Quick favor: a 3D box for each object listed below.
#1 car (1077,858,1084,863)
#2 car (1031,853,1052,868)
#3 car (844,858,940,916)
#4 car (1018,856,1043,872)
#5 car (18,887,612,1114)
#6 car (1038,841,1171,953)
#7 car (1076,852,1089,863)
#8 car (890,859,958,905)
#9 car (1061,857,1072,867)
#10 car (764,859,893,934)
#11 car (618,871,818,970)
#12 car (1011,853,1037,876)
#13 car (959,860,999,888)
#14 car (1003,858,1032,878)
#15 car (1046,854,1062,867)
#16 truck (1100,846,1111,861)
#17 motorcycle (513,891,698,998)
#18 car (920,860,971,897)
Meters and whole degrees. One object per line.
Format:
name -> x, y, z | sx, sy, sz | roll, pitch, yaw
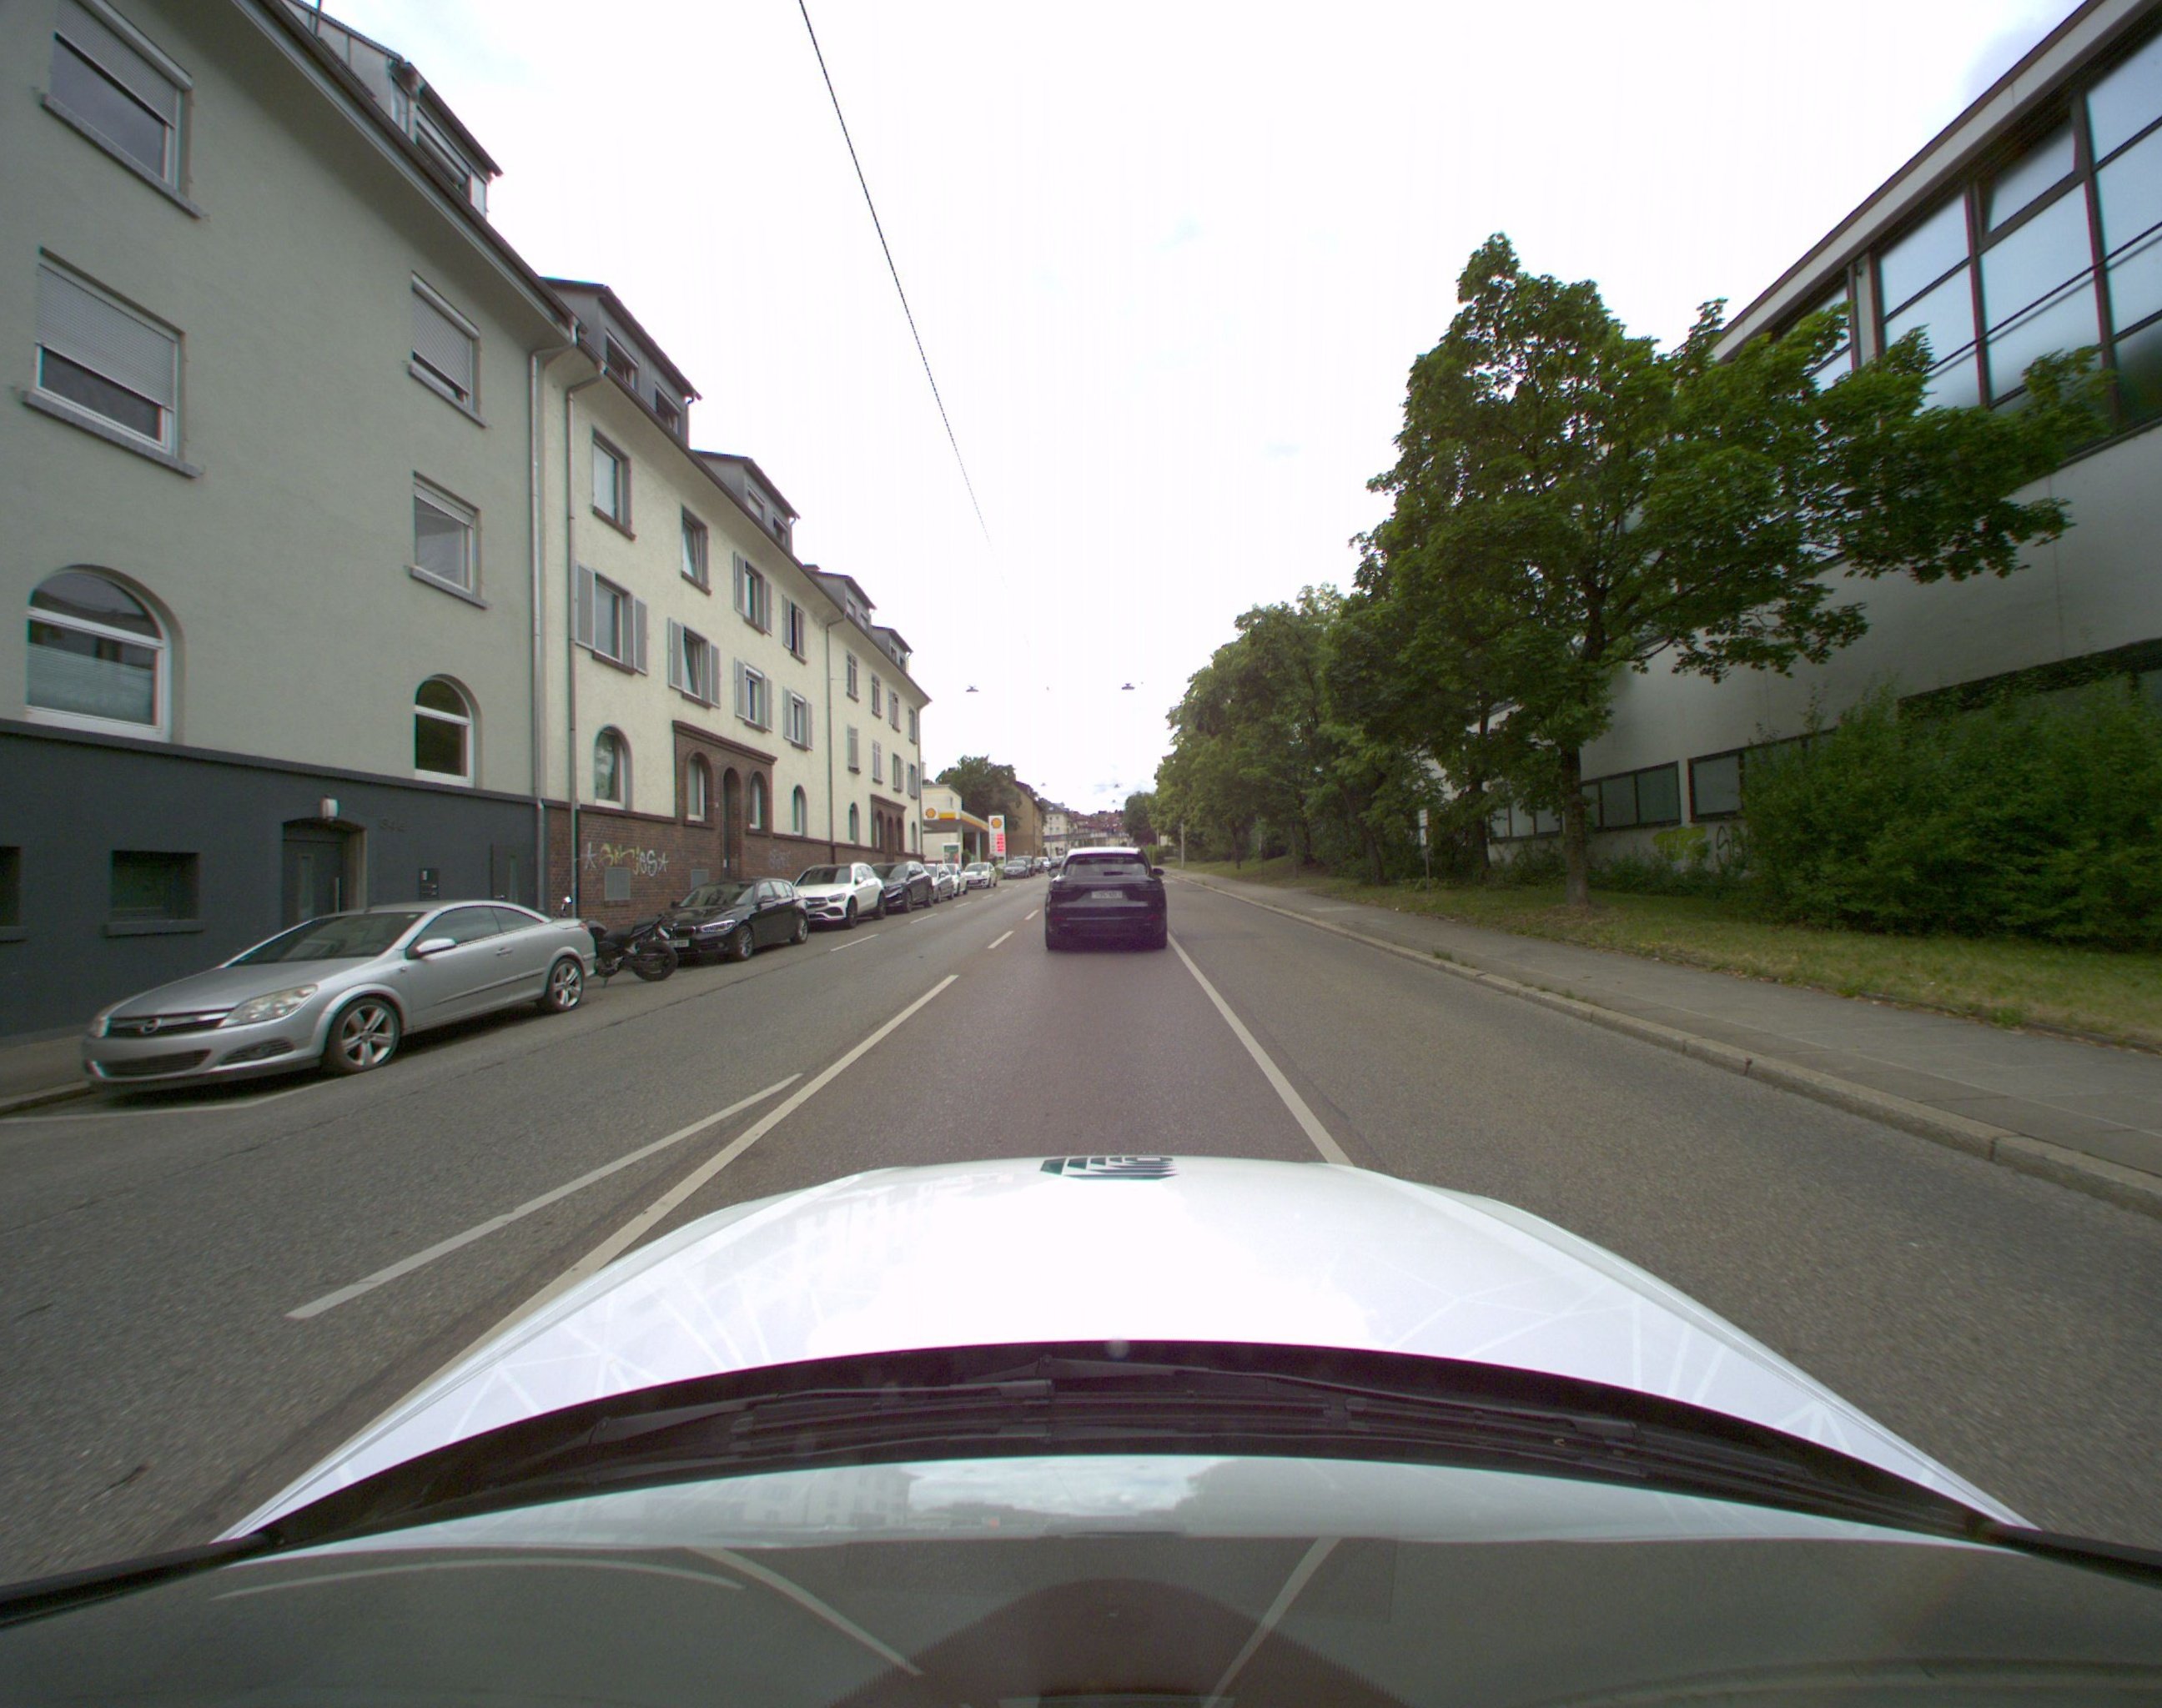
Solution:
car -> -0.081, 1.746, 220.466 | 1.758, 1.508, 4.002 | -2, 0, 2
car -> -4.390, 0.724, 90.981 | 1.908, 1.577, 4.702 | -3, 0, 2
car -> -6.082, 1.007, 26.748 | 1.719, 1.599, 4.506 | -3, 0, 4
car -> -4.998, 0.929, 81.293 | 1.790, 1.431, 4.749 | -3, 0, 4
car -> -6.830, 1.156, 8.108 | 1.721, 1.374, 4.337 | -3, 0, 0
car -> 0.437, 0.644, 14.425 | 1.986, 1.662, 4.002 | -1, 0, 2
car -> 0.218, 0.514, 125.781 | 1.791, 1.525, 4.002 | -3, 0, 2
car -> -6.098, 1.046, 32.084 | 1.721, 1.558, 4.082 | -5, 0, 1
car -> -2.591, 1.347, 142.822 | 1.740, 1.568, 3.907 | -3, 0, 0
car -> -6.510, 1.024, 21.620 | 1.839, 1.621, 4.644 | -3, 0, 1
car -> -6.564, 1.127, 15.311 | 1.720, 1.429, 4.193 | -3, 0, 2
car -> -4.881, 0.907, 70.325 | 1.845, 1.835, 4.701 | -3, 0, 0
car -> -5.733, 1.123, 46.248 | 1.613, 1.425, 3.667 | -3, 0, 2
car -> -5.003, 1.083, 64.462 | 1.784, 1.450, 4.220 | -3, 0, 2
car -> -3.686, 0.831, 112.550 | 1.775, 1.609, 4.268 | -4, 0, 3
truck -> 5.712, -0.116, 189.196 | 2.258, 3.424, 9.881 | -2, 0, 2
motorcycle -> -6.693, 1.245, 11.590 | 2.045, 1.235, 0.803 | -4, 0, -16
car -> -6.110, 1.082, 37.085 | 1.542, 1.475, 3.605 | -3, 0, 1
